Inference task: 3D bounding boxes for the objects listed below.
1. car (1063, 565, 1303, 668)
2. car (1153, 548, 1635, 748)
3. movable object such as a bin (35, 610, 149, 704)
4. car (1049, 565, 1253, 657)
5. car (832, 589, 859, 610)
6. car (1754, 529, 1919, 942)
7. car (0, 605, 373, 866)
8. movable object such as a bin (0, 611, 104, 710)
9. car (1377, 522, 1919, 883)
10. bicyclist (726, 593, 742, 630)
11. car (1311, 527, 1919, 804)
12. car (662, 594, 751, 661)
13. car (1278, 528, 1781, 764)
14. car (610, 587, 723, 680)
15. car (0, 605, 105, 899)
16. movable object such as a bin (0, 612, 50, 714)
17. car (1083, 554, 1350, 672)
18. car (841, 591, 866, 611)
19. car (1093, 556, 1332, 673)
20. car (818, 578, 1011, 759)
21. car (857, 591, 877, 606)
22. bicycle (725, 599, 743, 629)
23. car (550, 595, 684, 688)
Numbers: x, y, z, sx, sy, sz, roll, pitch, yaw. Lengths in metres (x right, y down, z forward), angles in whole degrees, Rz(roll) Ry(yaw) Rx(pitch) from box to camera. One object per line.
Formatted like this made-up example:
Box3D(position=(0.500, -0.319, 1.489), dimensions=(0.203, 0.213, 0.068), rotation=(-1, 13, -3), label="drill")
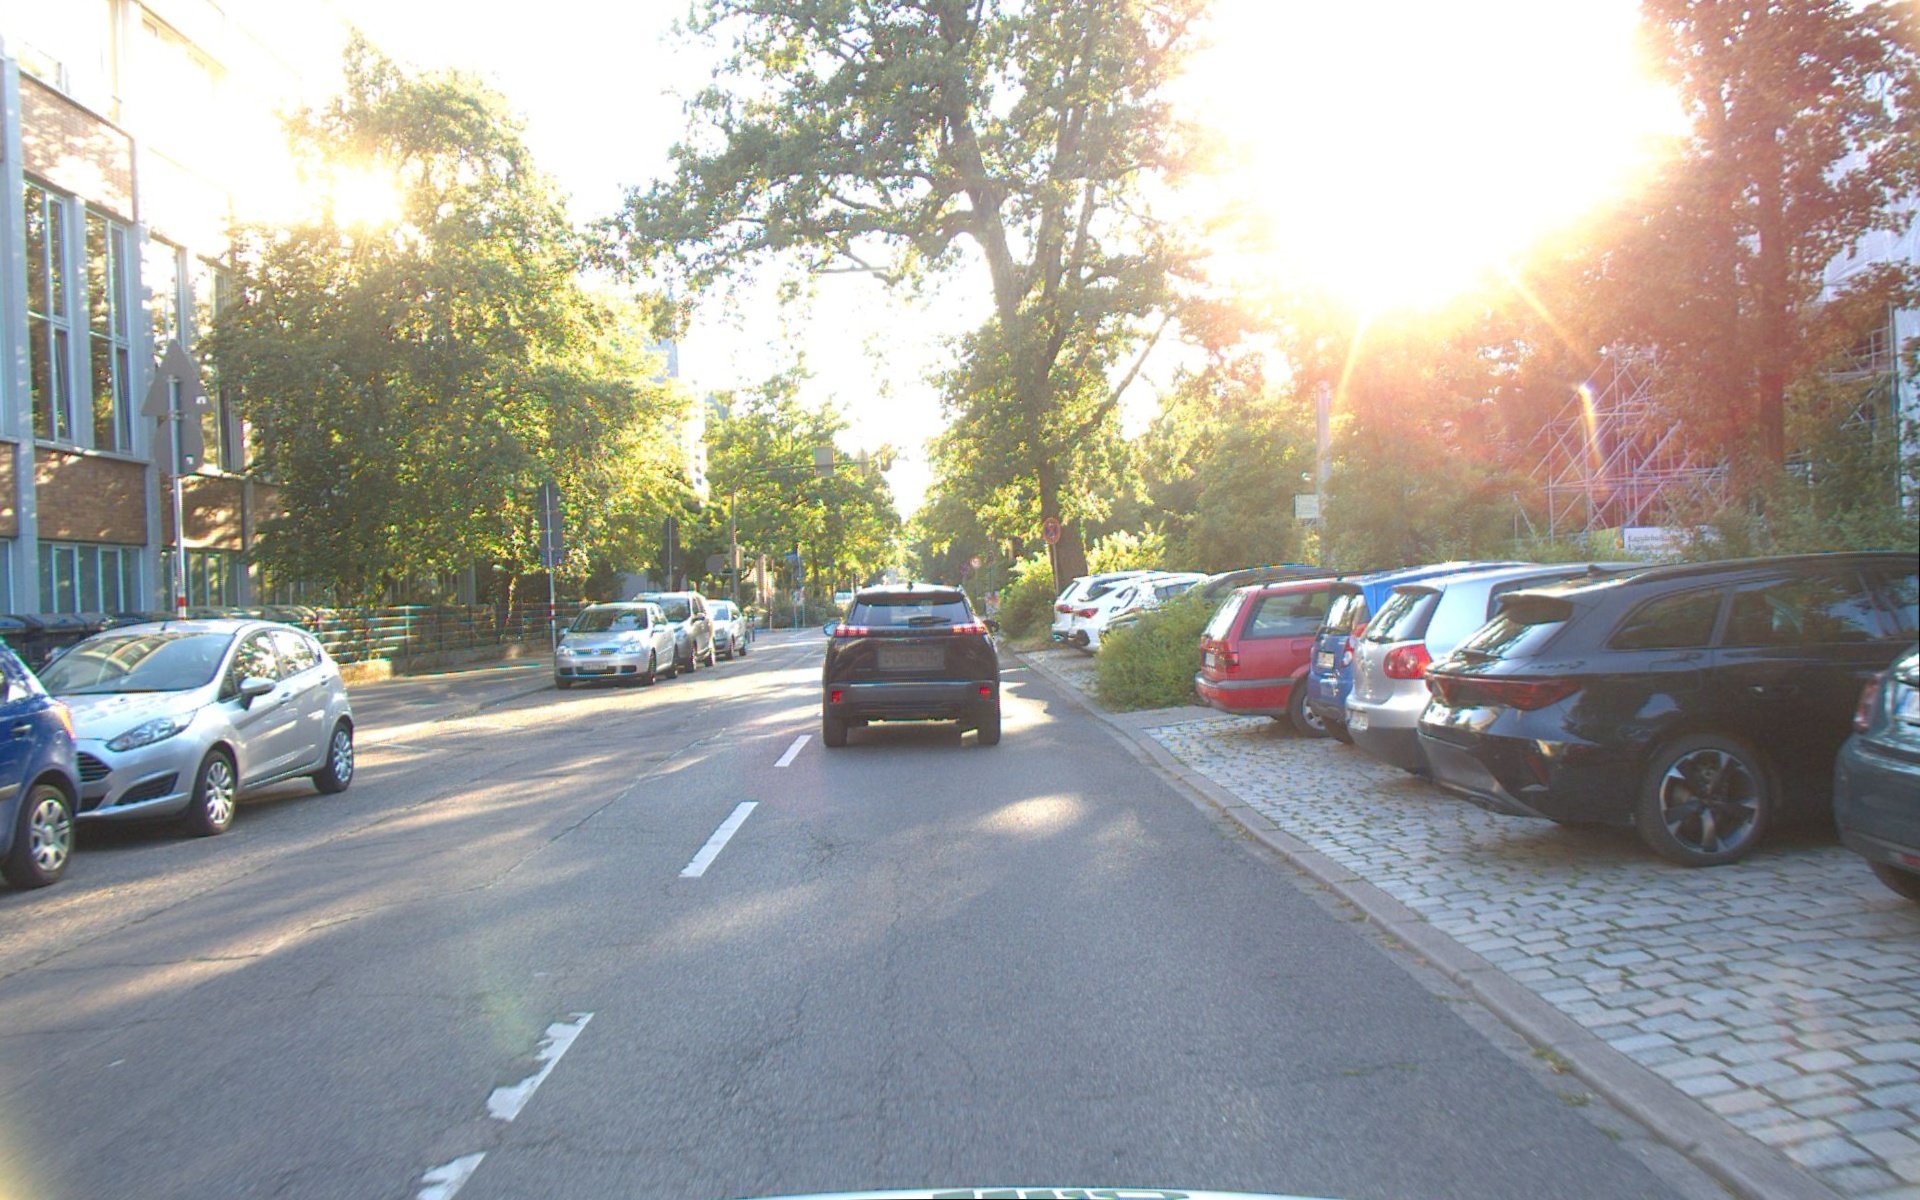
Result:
Box3D(position=(3.949, 0.285, 29.735), dimensions=(4.039, 1.696, 1.722), rotation=(-1, 0, -1), label="car")
Box3D(position=(4.198, 0.424, 16.457), dimensions=(4.251, 1.500, 1.742), rotation=(-5, 2, -1), label="car")
Box3D(position=(-14.342, 0.926, 27.381), dimensions=(1.076, 1.455, 1.373), rotation=(-2, 1, 2), label="movable object such as a bin")
Box3D(position=(3.926, 0.221, 34.511), dimensions=(4.083, 1.740, 1.868), rotation=(-2, 0, 3), label="car")
Box3D(position=(-8.258, -0.029, 119.253), dimensions=(1.776, 1.377, 3.995), rotation=(-3, 1, -6), label="car")
Box3D(position=(5.320, 0.325, 6.171), dimensions=(3.732, 1.500, 1.831), rotation=(-6, 0, -1), label="car")
Box3D(position=(-5.888, 0.886, 12.423), dimensions=(1.568, 1.519, 3.772), rotation=(-4, 1, -1), label="car")
Box3D(position=(-14.384, 0.934, 25.929), dimensions=(1.076, 1.455, 1.486), rotation=(-2, 1, 2), label="movable object such as a bin")
Box3D(position=(4.516, 0.407, 8.812), dimensions=(4.037, 1.500, 1.832), rotation=(-5, 0, 0), label="car")
Box3D(position=(-10.148, 0.494, 74.331), dimensions=(0.662, 1.631, 0.705), rotation=(-2, 0, -6), label="bicyclist")
Box3D(position=(4.660, 0.413, 11.762), dimensions=(3.845, 1.479, 1.832), rotation=(-5, 0, 0), label="car")
Box3D(position=(-6.440, 0.661, 42.344), dimensions=(1.645, 1.482, 3.881), rotation=(-4, 1, -1), label="car")
Box3D(position=(4.831, 0.358, 14.331), dimensions=(3.641, 1.582, 1.740), rotation=(-5, 0, -5), label="car")
Box3D(position=(-6.309, 0.664, 35.954), dimensions=(1.645, 1.738, 4.340), rotation=(-4, 1, -1), label="car")
Box3D(position=(-5.900, 0.882, 7.875), dimensions=(1.566, 1.533, 3.787), rotation=(-4, 1, 1), label="car")
Box3D(position=(-14.436, 0.943, 24.415), dimensions=(1.076, 1.455, 1.519), rotation=(-2, 1, 2), label="movable object such as a bin")
Box3D(position=(3.800, 0.176, 24.872), dimensions=(3.670, 1.622, 1.696), rotation=(-1, 0, -4), label="car")
Box3D(position=(-8.093, 0.081, 125.504), dimensions=(1.775, 1.377, 3.996), rotation=(-3, 1, -5), label="car")
Box3D(position=(4.108, 0.234, 27.296), dimensions=(3.517, 1.593, 1.817), rotation=(-4, 0, -2), label="car")
Box3D(position=(-0.487, 0.611, 17.005), dimensions=(1.733, 1.595, 3.379), rotation=(-2, 1, -2), label="car")
Box3D(position=(-8.941, -0.138, 159.327), dimensions=(1.775, 1.377, 3.975), rotation=(-3, 1, -5), label="car")
Box3D(position=(-10.146, 0.611, 74.300), dimensions=(0.673, 1.271, 2.190), rotation=(-2, 0, -5), label="bicycle")
Box3D(position=(-6.235, 0.712, 30.461), dimensions=(1.637, 1.520, 4.060), rotation=(-2, 0, -1), label="car")
